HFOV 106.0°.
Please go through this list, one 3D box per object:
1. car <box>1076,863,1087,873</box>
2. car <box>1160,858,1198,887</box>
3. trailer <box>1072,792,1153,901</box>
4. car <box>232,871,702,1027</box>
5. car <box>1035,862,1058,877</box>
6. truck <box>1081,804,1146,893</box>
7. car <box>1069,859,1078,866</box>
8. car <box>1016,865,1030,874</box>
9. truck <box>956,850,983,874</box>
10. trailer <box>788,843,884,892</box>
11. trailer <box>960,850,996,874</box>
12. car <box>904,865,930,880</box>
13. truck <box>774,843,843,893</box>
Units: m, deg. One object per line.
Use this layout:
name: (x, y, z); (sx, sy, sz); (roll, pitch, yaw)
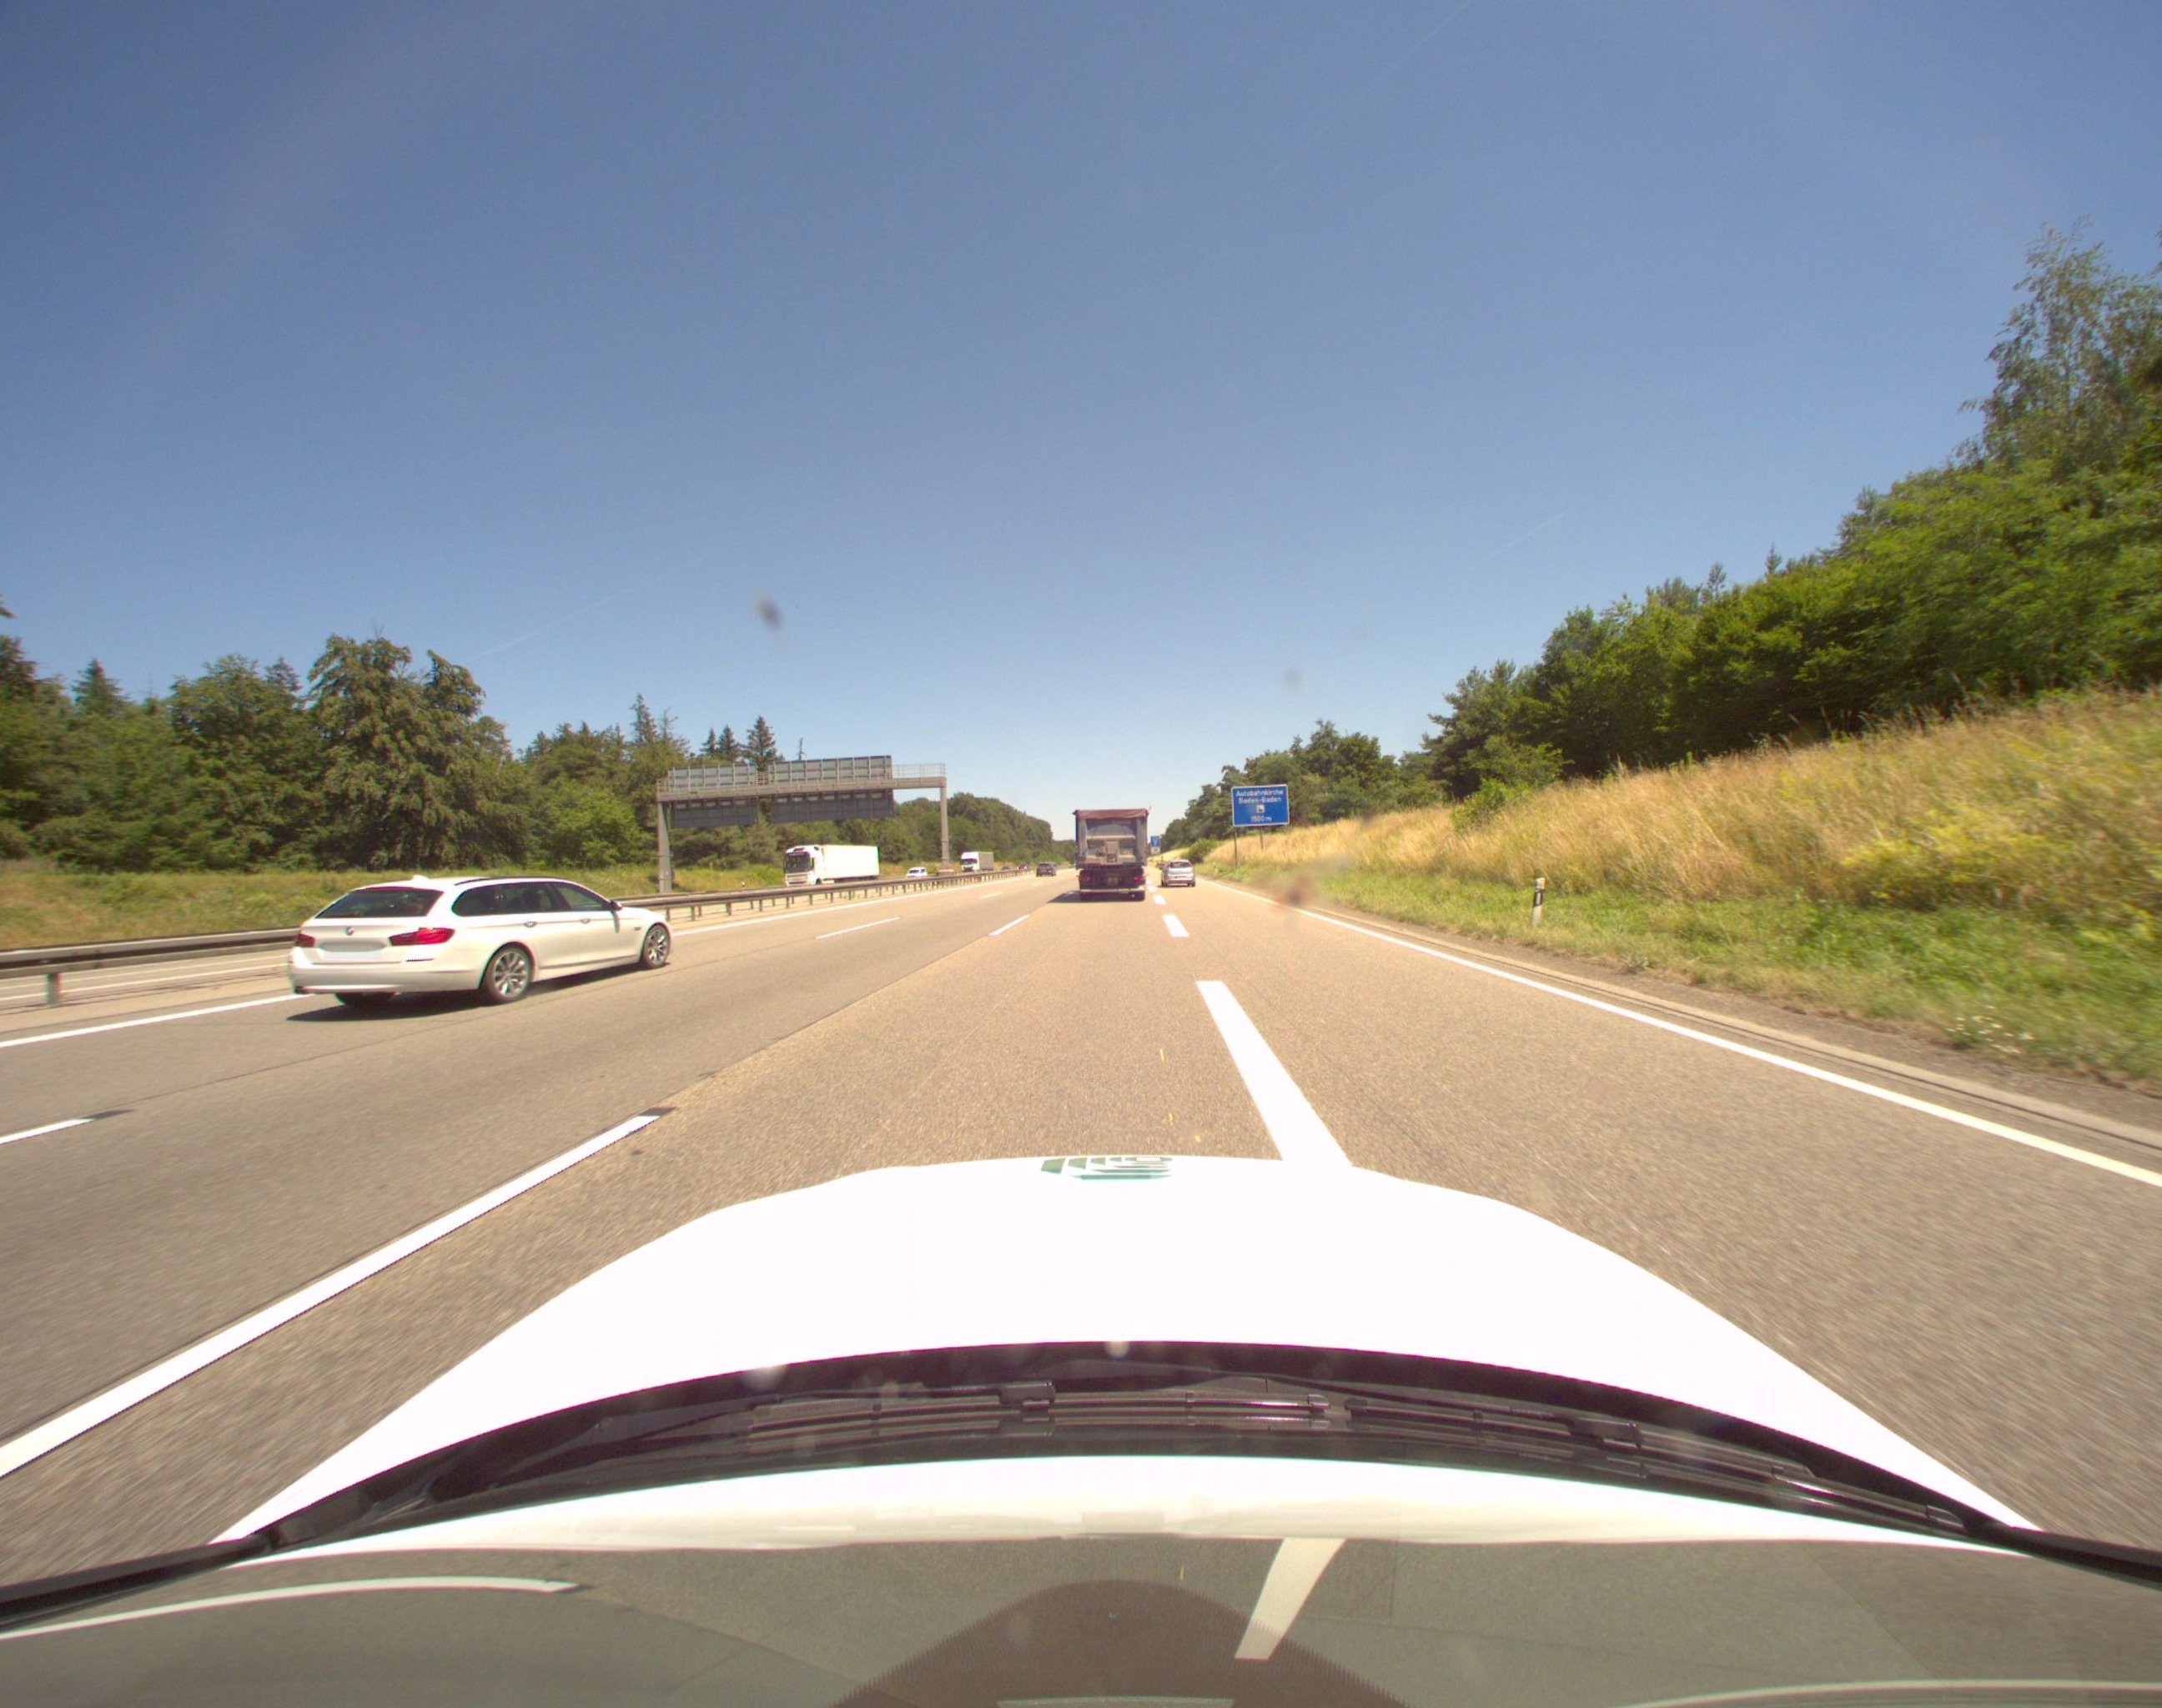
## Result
car: (0.125, 2.435, 143.051); (1.696, 1.474, 4.601); (-2, 0, 3)
car: (5.302, 0.979, 44.368); (1.713, 1.491, 3.738); (-1, 0, 2)
trailer: (1.321, -0.252, 33.134); (2.726, 3.758, 9.115); (-2, 0, 3)
car: (-7.480, 1.014, 10.932); (1.955, 1.504, 5.409); (-1, -1, 4)
car: (-3.584, 1.630, 85.096); (1.824, 1.431, 5.004); (-1, 0, 4)
truck: (1.557, -0.216, 38.060); (2.673, 3.758, 5.948); (-2, 0, 3)
car: (-2.273, 2.385, 238.536); (2.270, 1.940, 4.947); (-3, -1, 4)
car: (-11.256, 2.980, 158.291); (1.838, 1.610, 4.926); (-1, -1, 4)
truck: (-18.504, 1.331, 135.865); (3.153, 3.931, 5.408); (-1, -1, 5)
trailer: (-22.422, 1.212, 75.862); (3.198, 4.042, 14.381); (-1, -1, 5)
trailer: (-17.821, 1.432, 142.564); (3.152, 3.931, 13.984); (-1, -1, 6)
car: (-20.436, 2.276, 101.609); (1.985, 1.750, 4.995); (-1, -1, 3)
truck: (-23.067, 1.151, 69.213); (3.198, 4.018, 6.224); (-1, -1, 5)
